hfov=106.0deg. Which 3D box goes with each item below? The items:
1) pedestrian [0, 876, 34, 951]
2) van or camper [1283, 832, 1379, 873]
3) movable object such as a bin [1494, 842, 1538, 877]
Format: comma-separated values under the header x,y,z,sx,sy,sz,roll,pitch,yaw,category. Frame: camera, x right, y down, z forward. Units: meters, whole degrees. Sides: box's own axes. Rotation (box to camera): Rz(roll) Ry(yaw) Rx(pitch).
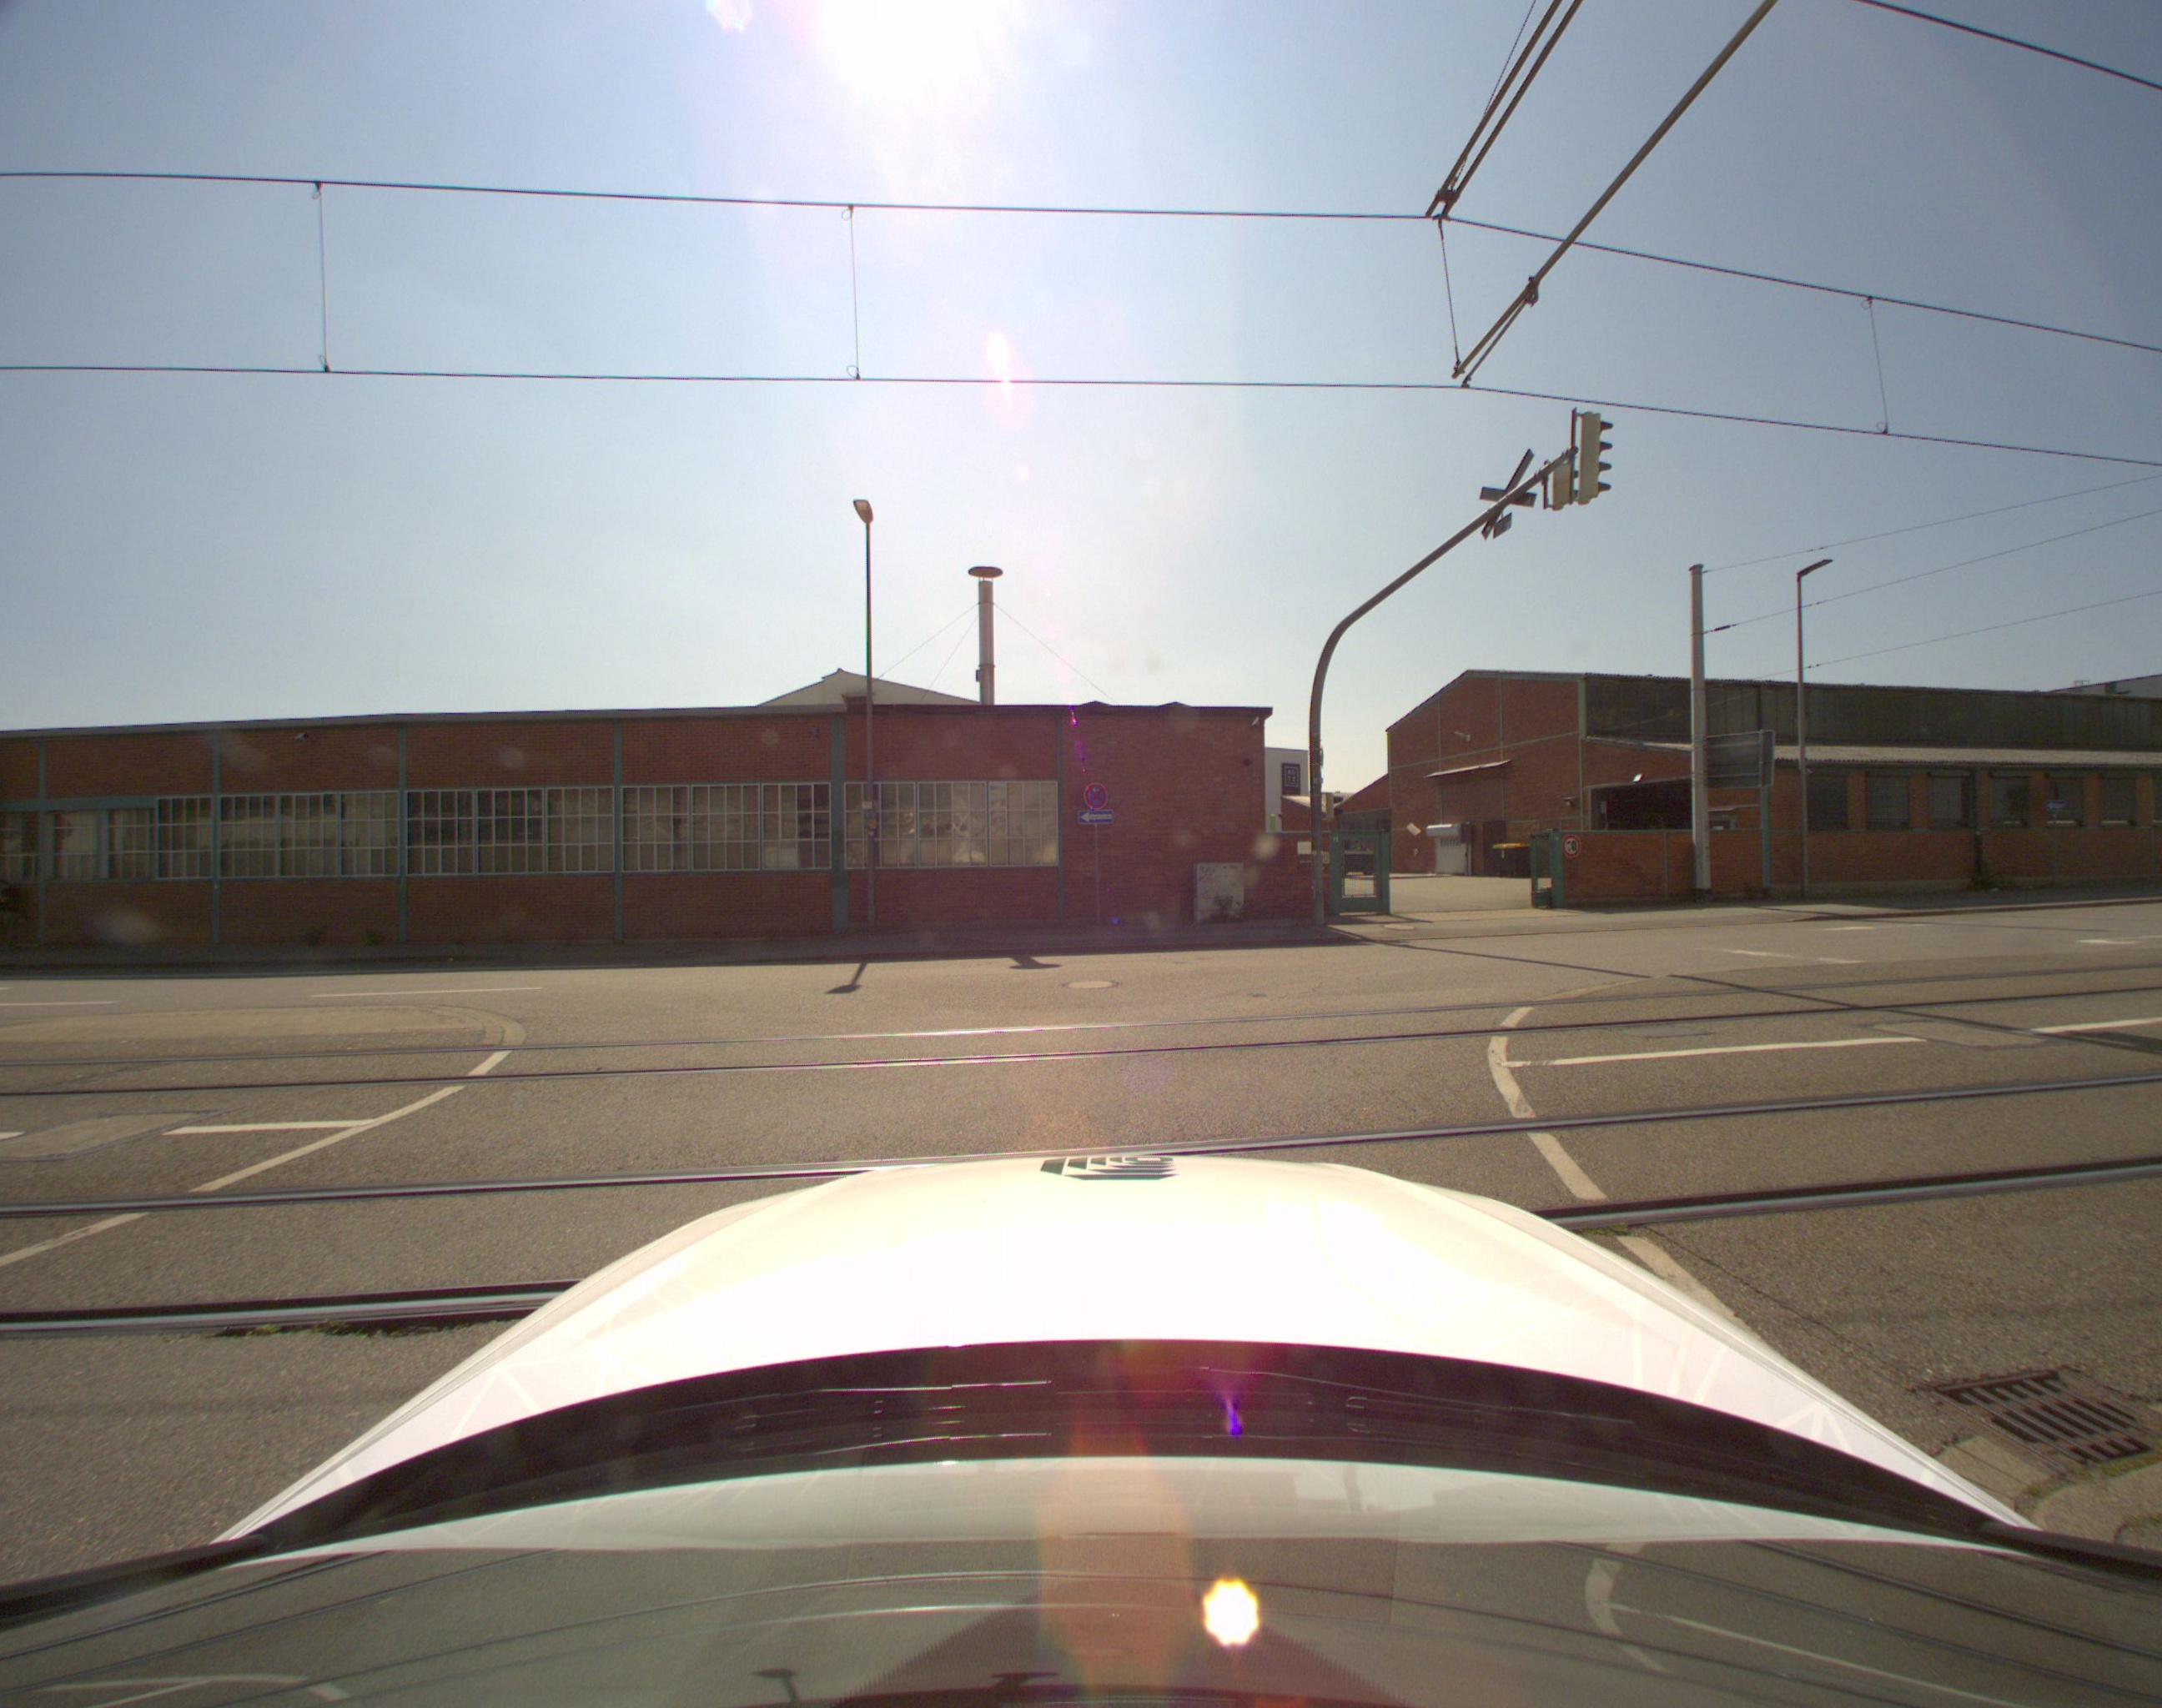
x,y,z,sx,sy,sz,roll,pitch,yaw,category
-25.958,1.431,19.639,0.445,1.765,0.688,1,-1,10,pedestrian
12.224,-0.044,39.744,4.435,1.900,1.981,1,-1,-31,van or camper
16.934,0.221,31.736,0.975,1.314,1.148,-2,0,-11,movable object such as a bin
